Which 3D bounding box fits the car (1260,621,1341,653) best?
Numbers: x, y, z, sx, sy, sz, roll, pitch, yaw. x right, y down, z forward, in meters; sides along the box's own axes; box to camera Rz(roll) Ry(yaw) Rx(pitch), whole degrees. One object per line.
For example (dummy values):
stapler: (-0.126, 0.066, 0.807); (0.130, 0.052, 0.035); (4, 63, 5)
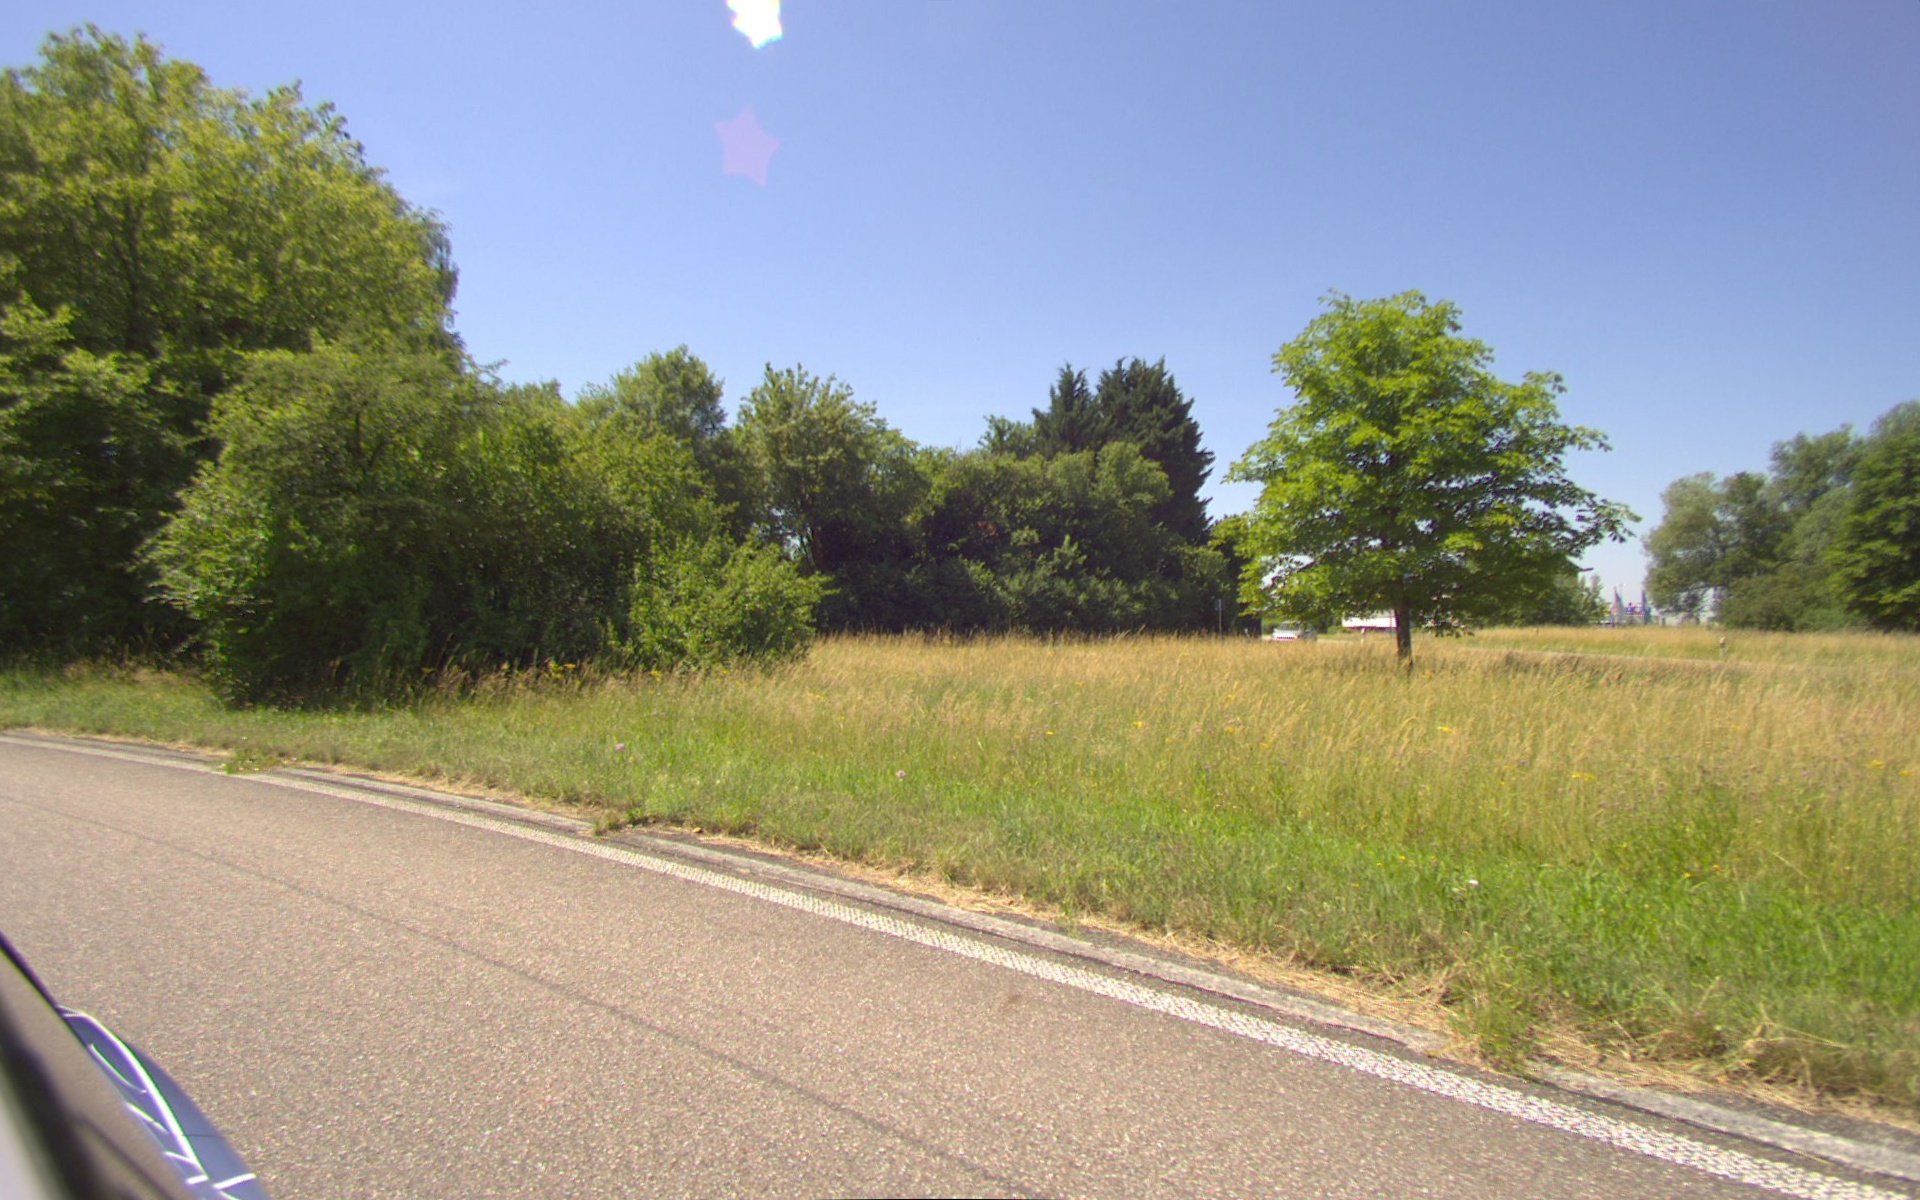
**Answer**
car: (18.612, 2.046, 55.298); (3.930, 1.608, 1.863); (2, -3, -22)
